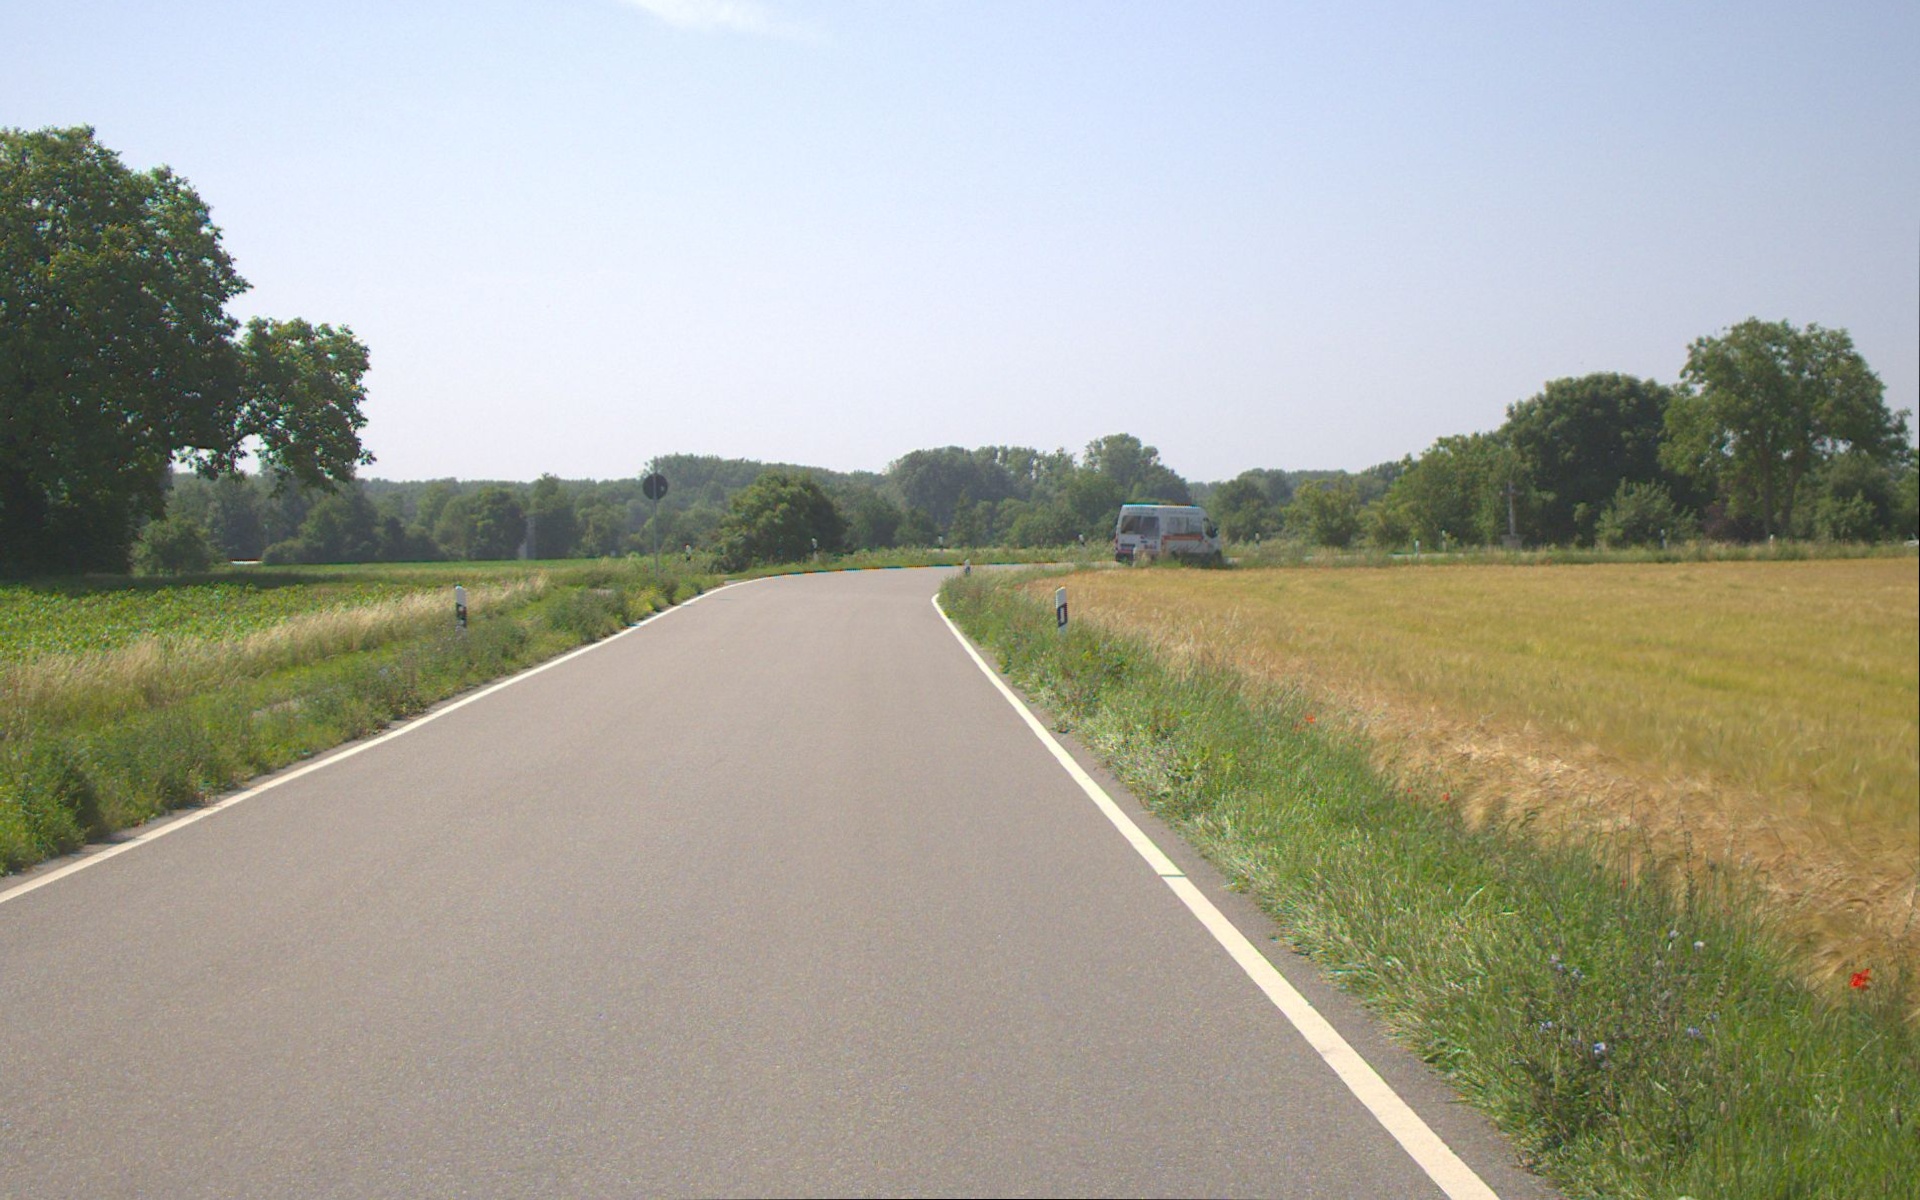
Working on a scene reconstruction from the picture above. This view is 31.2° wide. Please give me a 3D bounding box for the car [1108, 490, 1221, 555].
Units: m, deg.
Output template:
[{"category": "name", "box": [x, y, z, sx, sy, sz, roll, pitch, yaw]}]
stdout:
[{"category": "car", "box": [7.798, -2.951, 130.270, 2.107, 2.359, 5.678, -1, 2, 27]}]
